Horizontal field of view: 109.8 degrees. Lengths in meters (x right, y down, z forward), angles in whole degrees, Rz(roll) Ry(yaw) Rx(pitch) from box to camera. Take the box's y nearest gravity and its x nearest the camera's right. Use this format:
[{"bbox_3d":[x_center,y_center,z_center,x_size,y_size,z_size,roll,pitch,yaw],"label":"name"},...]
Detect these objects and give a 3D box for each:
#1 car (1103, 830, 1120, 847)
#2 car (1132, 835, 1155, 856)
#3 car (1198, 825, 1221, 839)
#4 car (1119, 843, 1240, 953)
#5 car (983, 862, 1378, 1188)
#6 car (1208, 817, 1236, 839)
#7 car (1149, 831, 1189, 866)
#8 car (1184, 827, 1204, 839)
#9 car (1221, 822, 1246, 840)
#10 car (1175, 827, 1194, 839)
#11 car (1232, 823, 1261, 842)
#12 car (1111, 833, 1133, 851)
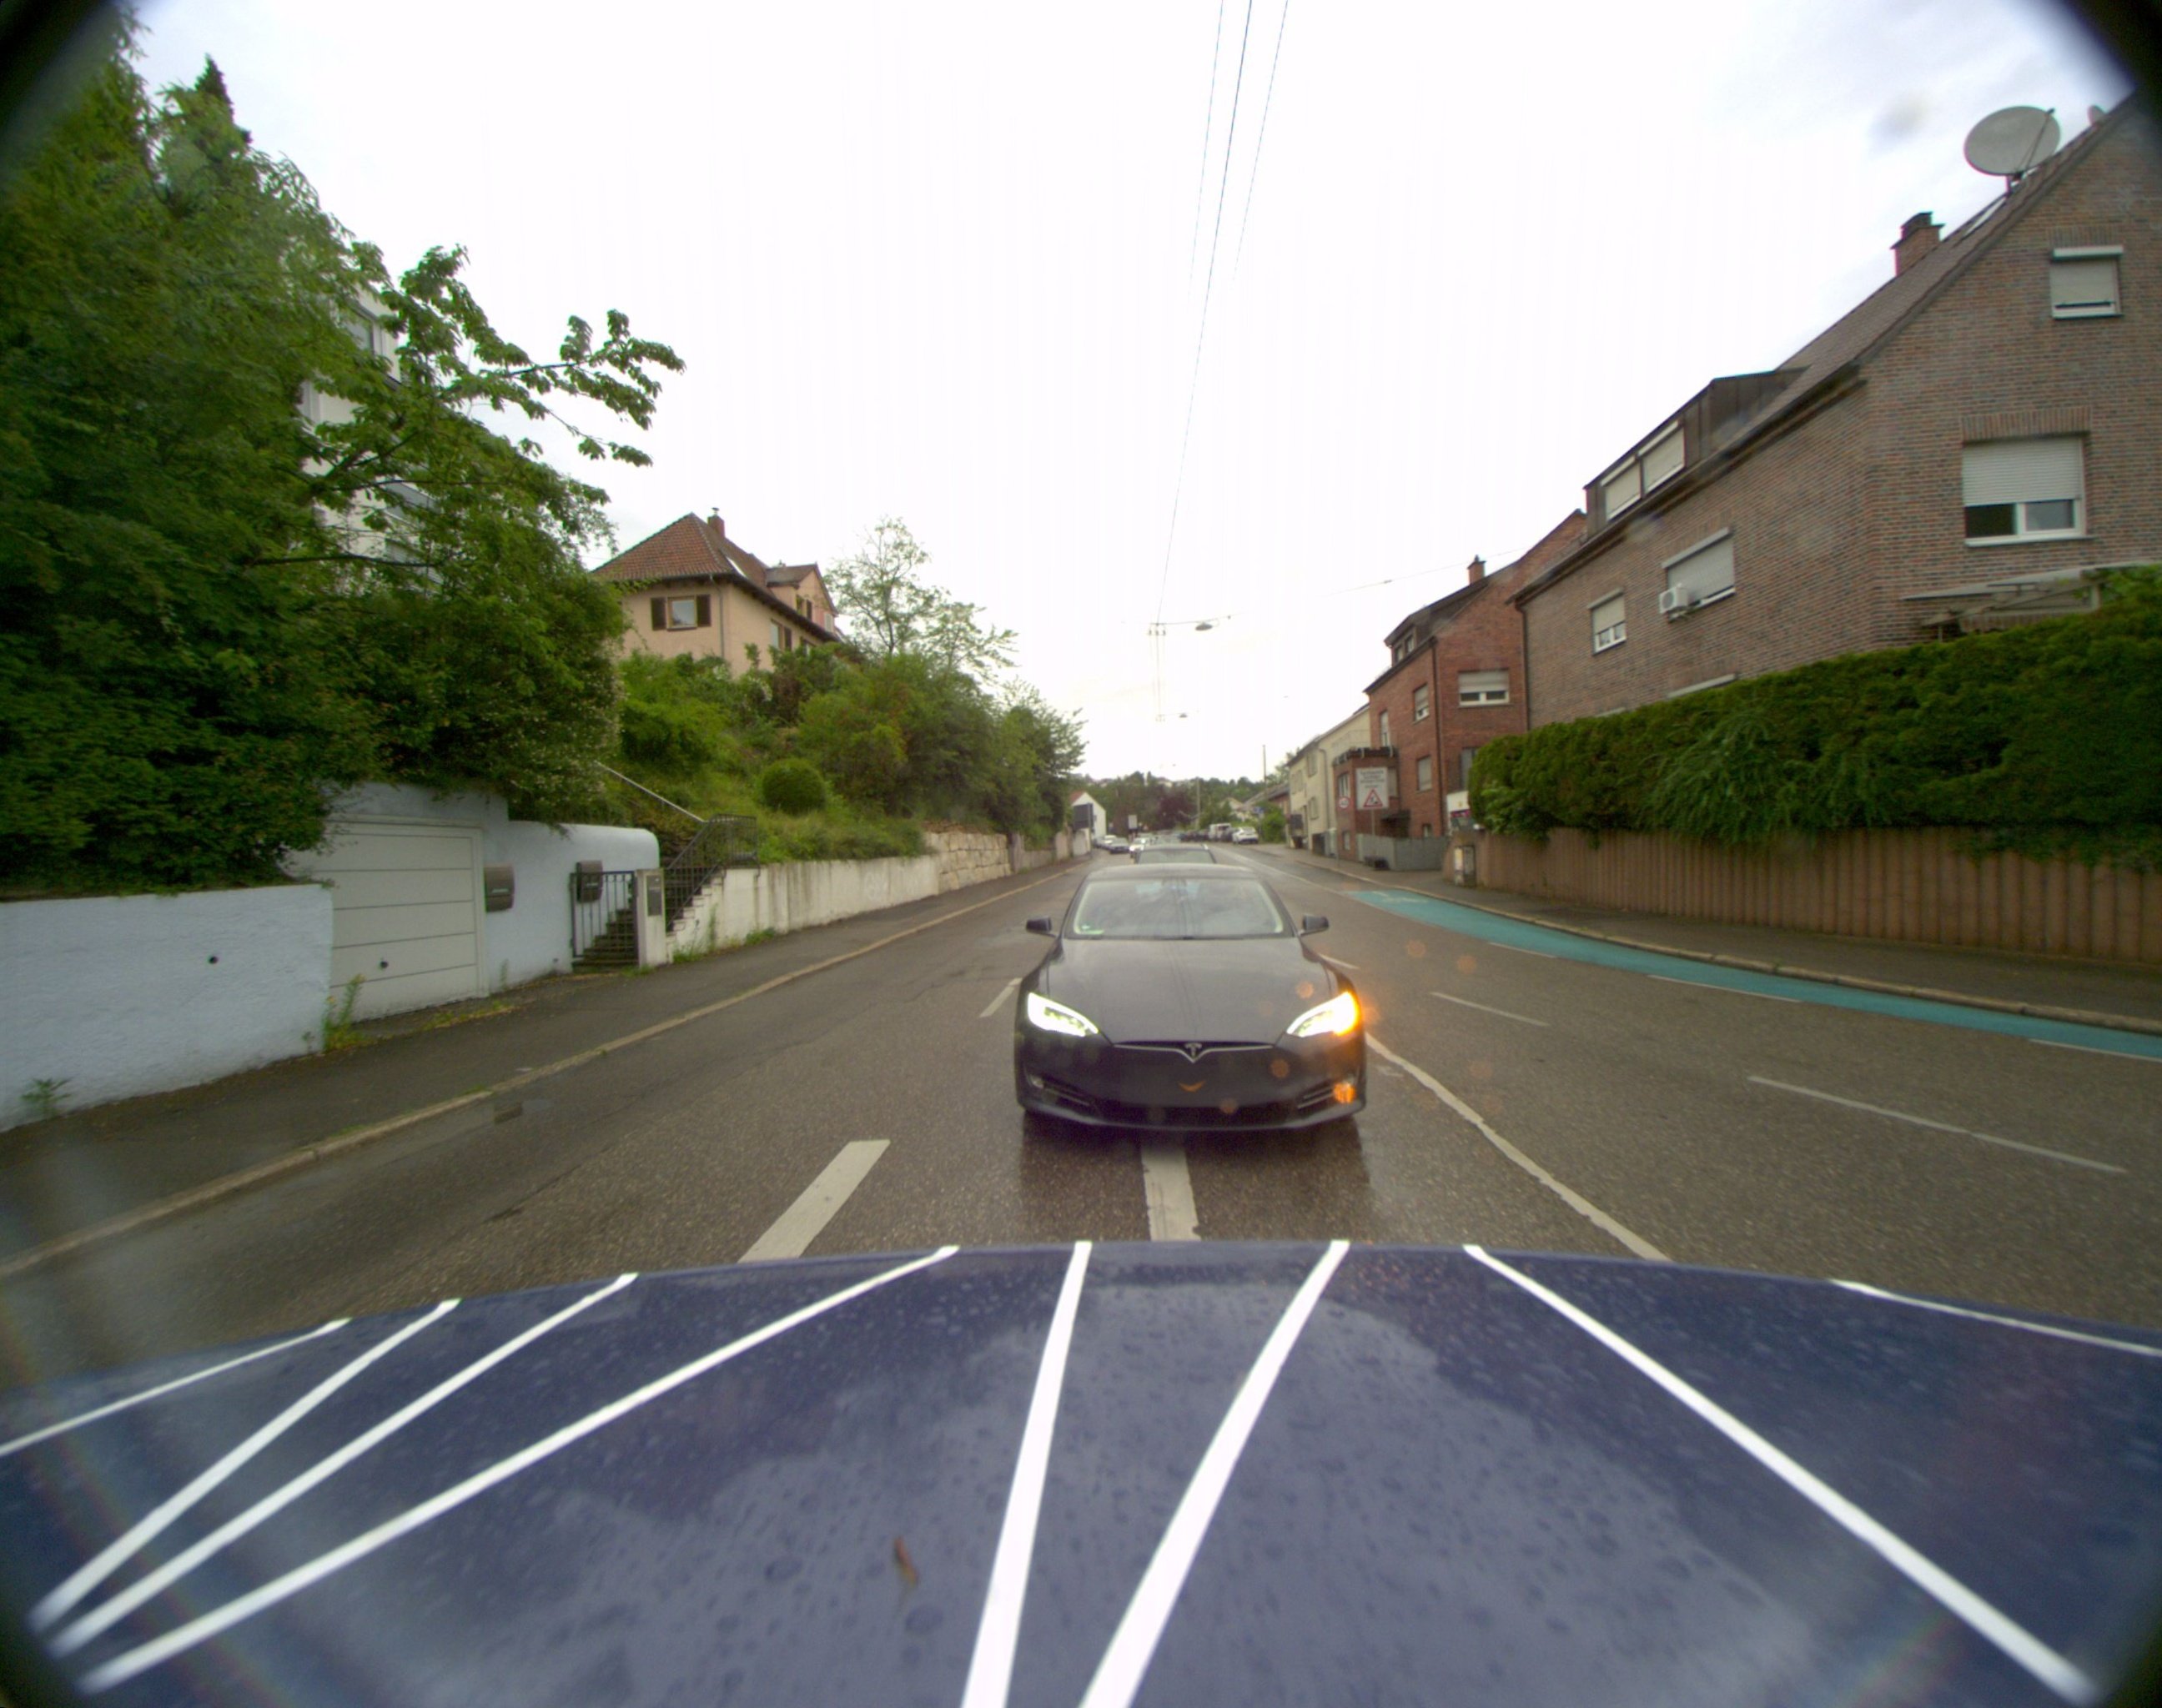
[{"bbox_3d":[3.583,-1.869,89.251,1.820,1.855,4.038,-2,2,0],"label":"car"},{"bbox_3d":[4.852,-0.635,59.125,1.737,1.493,3.883,-2,0,4],"label":"car"},{"bbox_3d":[15.421,-2.623,91.606,1.654,1.482,4.009,-4,1,-6],"label":"car"},{"bbox_3d":[1.657,0.657,13.518,1.789,1.580,3.784,-2,2,5],"label":"car"},{"bbox_3d":[0.630,0.868,5.685,1.870,1.407,4.000,-2,2,5],"label":"car"},{"bbox_3d":[15.997,-2.909,86.297,2.257,2.273,4.546,-4,1,1],"label":"car"},{"bbox_3d":[4.529,-0.261,39.597,1.816,1.720,4.001,-2,0,4],"label":"car"},{"bbox_3d":[14.453,-2.638,97.295,1.654,1.388,3.859,-4,1,-4],"label":"car"},{"bbox_3d":[16.081,-2.439,80.270,1.814,1.794,4.263,-4,1,2],"label":"car"},{"bbox_3d":[13.995,-2.803,102.916,1.624,1.482,3.901,-4,1,-4],"label":"car"},{"bbox_3d":[15.677,-2.034,72.127,1.946,1.557,4.263,-4,1,2],"label":"car"},{"bbox_3d":[3.972,-1.126,73.390,2.002,1.596,4.359,-2,0,4],"label":"car"}]
